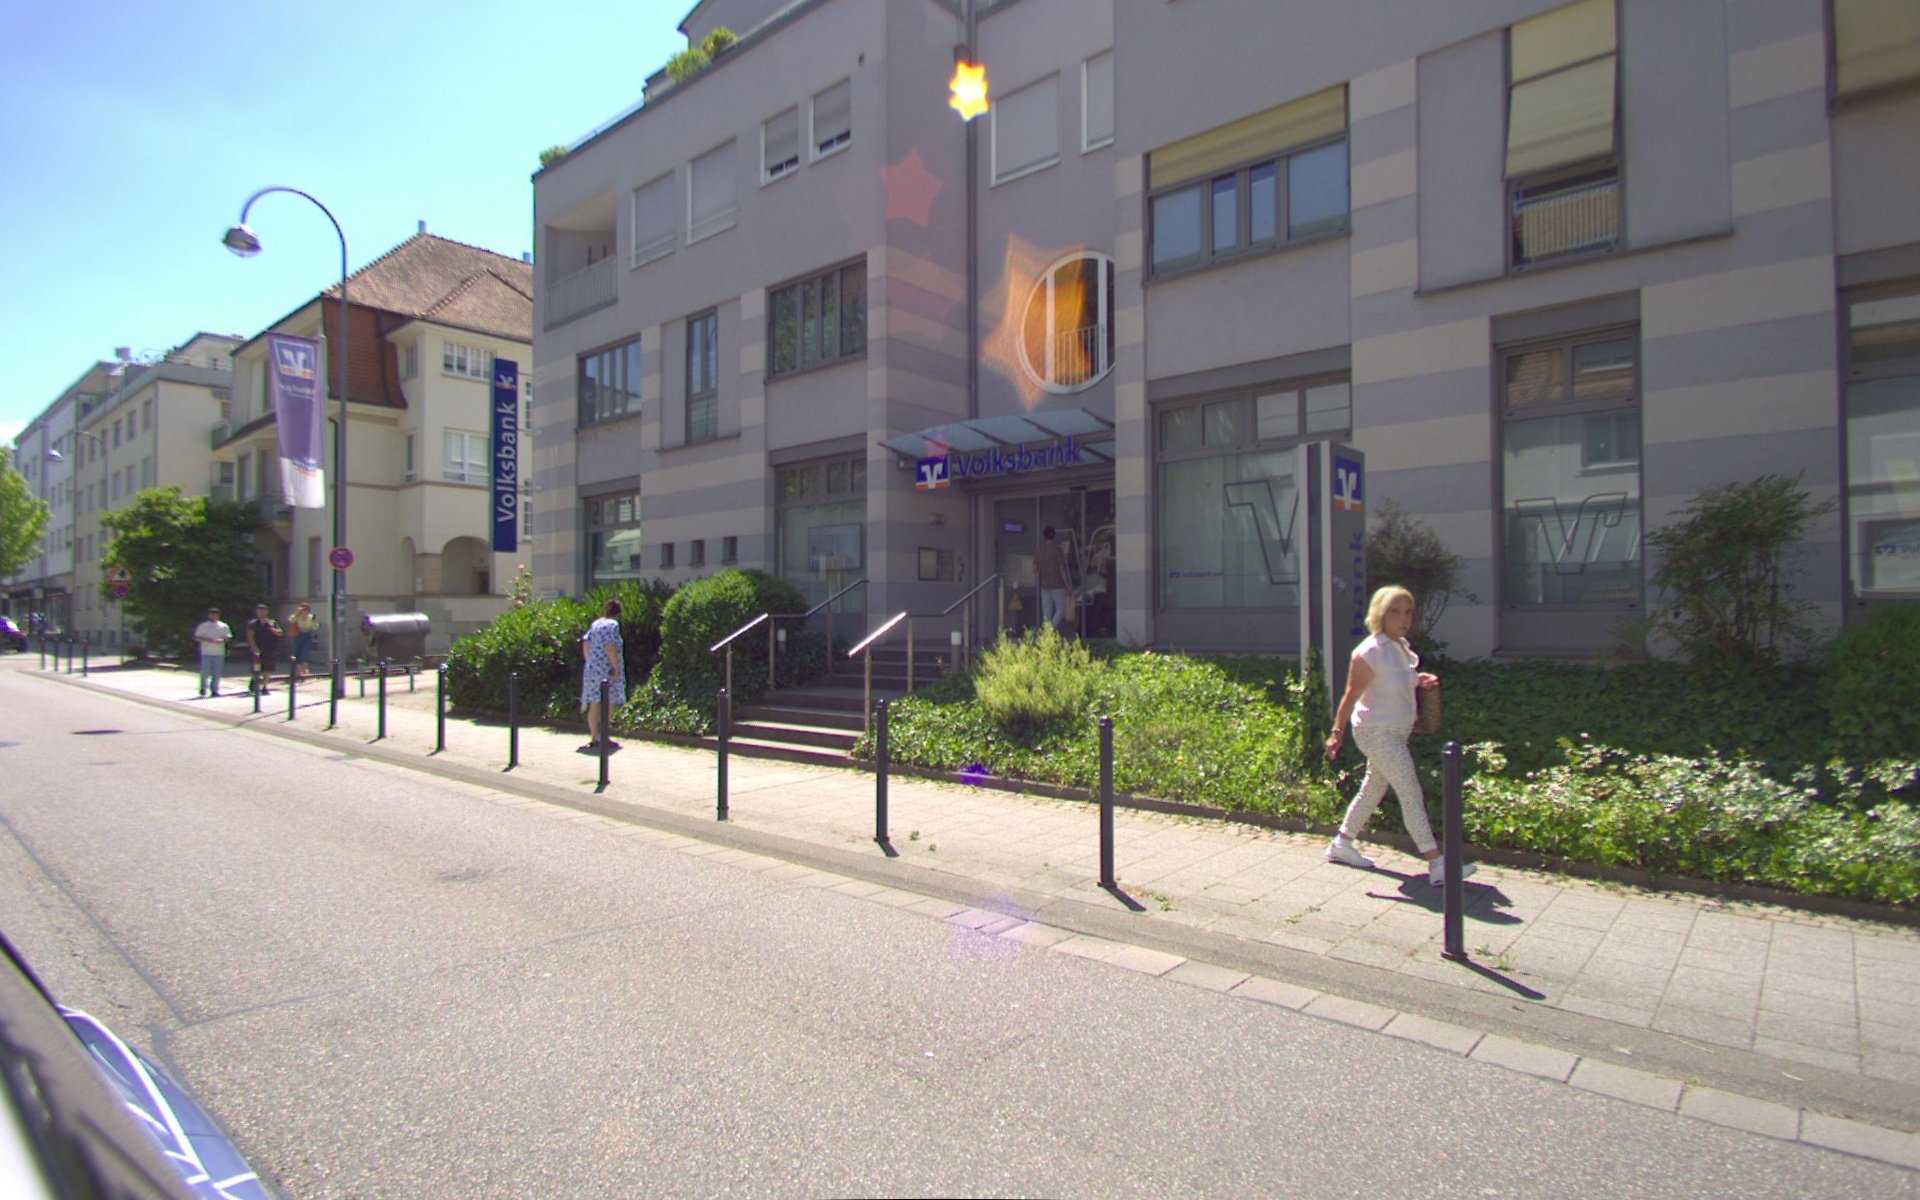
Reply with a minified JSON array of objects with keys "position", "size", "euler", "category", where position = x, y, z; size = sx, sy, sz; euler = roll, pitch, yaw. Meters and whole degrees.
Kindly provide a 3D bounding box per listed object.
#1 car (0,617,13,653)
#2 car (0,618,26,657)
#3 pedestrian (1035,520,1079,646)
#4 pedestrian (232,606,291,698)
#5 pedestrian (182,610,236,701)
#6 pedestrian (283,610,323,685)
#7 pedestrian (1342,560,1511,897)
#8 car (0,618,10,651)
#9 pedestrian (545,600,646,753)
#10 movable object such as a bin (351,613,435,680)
[{"position":[-47.863,1.707,49.520],"size":[4.290,1.683,1.710],"euler":[-1,-1,40],"category":"car"},{"position":[-43.142,1.666,45.164],"size":[4.291,1.683,1.709],"euler":[-1,-1,41],"category":"car"},{"position":[1.369,-0.229,14.351],"size":[0.604,1.752,0.580],"euler":[0,-1,5],"category":"pedestrian"},{"position":[-13.974,1.023,20.242],"size":[0.950,1.784,0.740],"euler":[-1,-1,40],"category":"pedestrian"},{"position":[-14.555,1.053,19.609],"size":[0.903,1.689,0.614],"euler":[-1,0,40],"category":"pedestrian"},{"position":[-15.282,1.085,23.540],"size":[0.734,1.687,0.534],"euler":[-1,1,40],"category":"pedestrian"},{"position":[2.557,0.654,5.554],"size":[0.708,1.698,0.531],"euler":[-1,-1,41],"category":"pedestrian"},{"position":[-51.623,1.813,53.414],"size":[4.291,1.683,1.709],"euler":[-1,-1,41],"category":"car"},{"position":[-4.168,0.842,11.576],"size":[0.751,1.657,0.836],"euler":[-2,-2,42],"category":"pedestrian"},{"position":[-13.805,1.098,24.646],"size":[1.294,1.499,1.372],"euler":[-1,1,41],"category":"movable object such as a bin"}]
